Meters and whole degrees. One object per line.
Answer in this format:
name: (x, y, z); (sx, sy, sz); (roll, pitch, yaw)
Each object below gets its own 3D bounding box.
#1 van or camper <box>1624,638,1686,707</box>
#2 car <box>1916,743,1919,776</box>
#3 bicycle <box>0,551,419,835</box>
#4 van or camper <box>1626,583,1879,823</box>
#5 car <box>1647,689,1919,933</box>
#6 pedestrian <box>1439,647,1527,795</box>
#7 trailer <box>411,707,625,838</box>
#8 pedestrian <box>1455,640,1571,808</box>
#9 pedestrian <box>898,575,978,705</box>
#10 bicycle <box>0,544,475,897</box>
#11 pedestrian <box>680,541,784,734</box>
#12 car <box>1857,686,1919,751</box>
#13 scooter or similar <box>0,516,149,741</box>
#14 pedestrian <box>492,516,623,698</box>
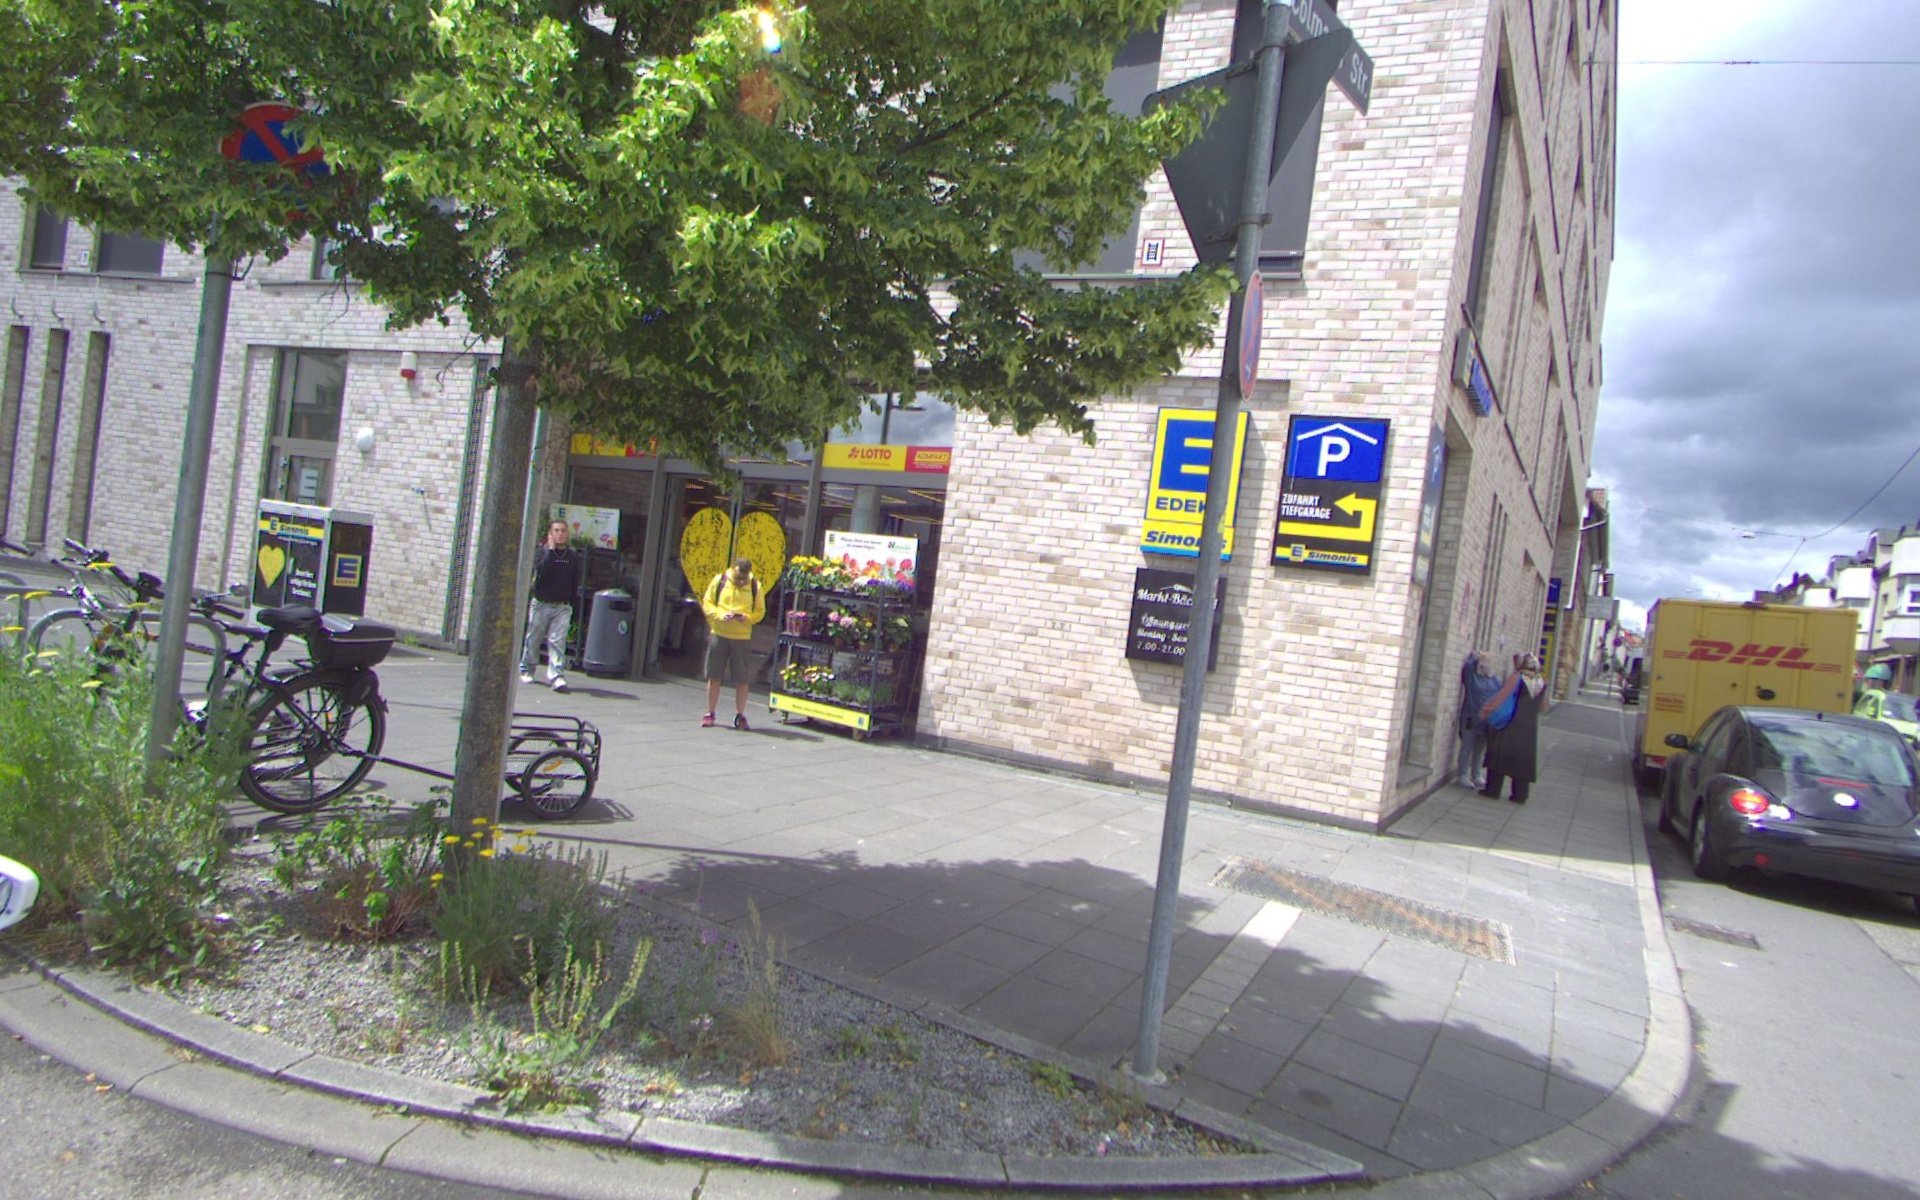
van or camper: (31.876, 3.382, 46.256); (2.021, 2.738, 5.154); (6, -2, 34)
car: (20.633, 2.528, 19.338); (2.093, 2.587, 5.885); (7, 1, 34)
bicycle: (-3.858, 0.415, 5.052); (0.743, 1.146, 1.825); (7, 1, 29)
van or camper: (11.928, 1.394, 15.705); (2.240, 2.771, 6.856); (6, 1, 33)
car: (7.698, 1.747, 9.281); (1.753, 1.496, 3.898); (7, 1, 30)
pedestrian: (6.009, 1.371, 11.575); (0.592, 1.591, 0.523); (6, -1, 3)
trailer: (-2.431, 0.920, 5.554); (0.798, 0.535, 0.720); (7, -1, 33)
pedestrian: (5.999, 1.319, 10.938); (0.800, 1.690, 0.556); (6, -1, 3)
pedestrian: (-0.308, 0.582, 14.326); (0.727, 1.746, 0.661); (6, -1, 30)
bicycle: (-3.259, 0.454, 4.452); (0.743, 1.216, 1.825); (7, 1, 29)
pedestrian: (-2.154, 0.345, 9.467); (0.652, 1.713, 0.627); (6, 1, -27)
car: (25.639, 3.208, 27.067); (1.606, 1.496, 3.764); (7, 1, 34)
scooter or similar: (-5.578, 0.150, 5.829); (0.485, 1.265, 1.198); (7, 1, 29)
pedestrian: (-4.220, 0.069, 10.537); (1.001, 1.763, 0.658); (7, 1, 34)
